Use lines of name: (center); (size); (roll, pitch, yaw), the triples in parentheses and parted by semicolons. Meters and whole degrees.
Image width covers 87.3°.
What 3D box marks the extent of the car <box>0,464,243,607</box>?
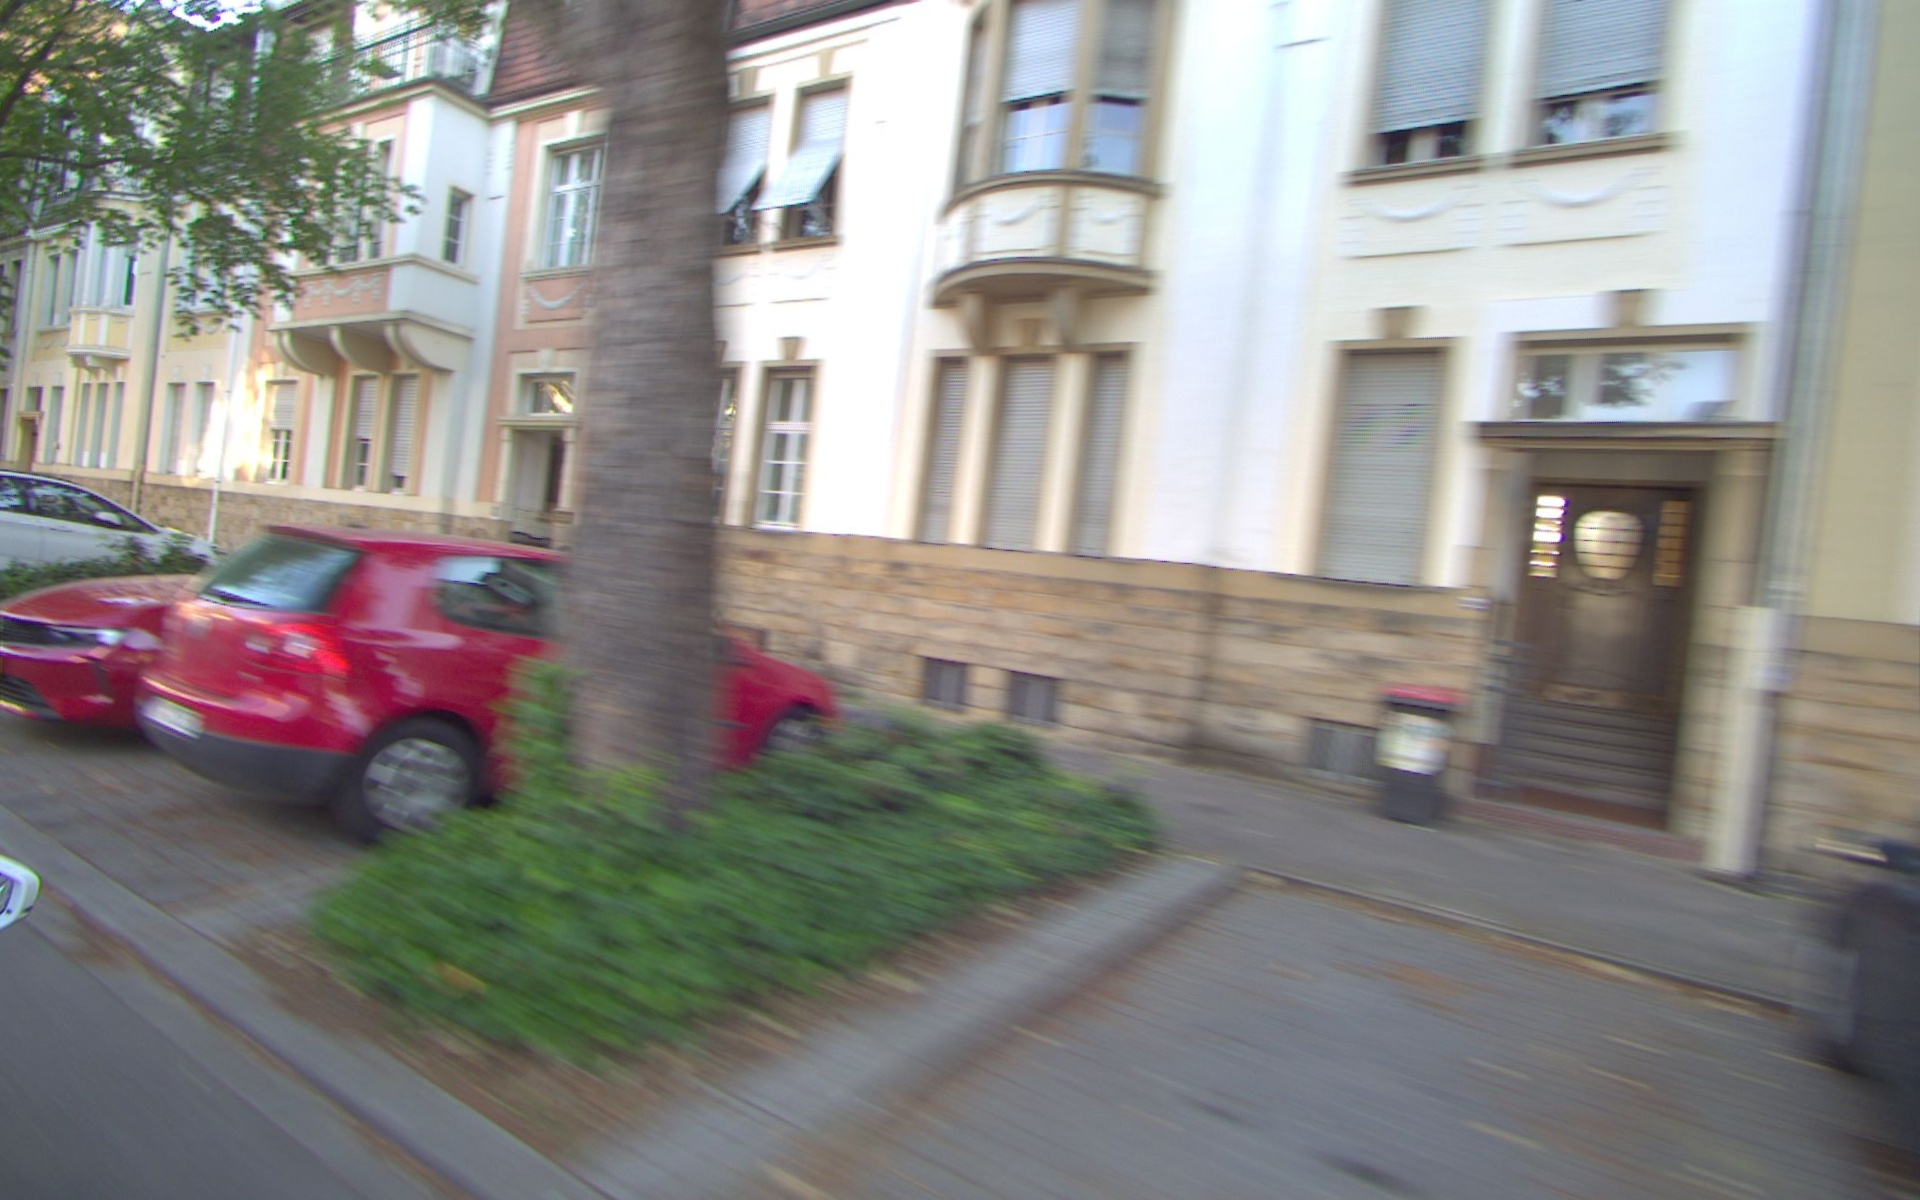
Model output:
car: (-12.014, -0.891, 12.916); (1.846, 1.591, 4.113); (7, 1, 32)

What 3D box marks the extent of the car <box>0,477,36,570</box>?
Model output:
car: (-18.179, -1.574, 16.296); (1.845, 1.559, 4.296); (8, -1, 30)

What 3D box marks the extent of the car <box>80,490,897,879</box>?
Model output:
car: (-2.455, 0.392, 6.262); (1.822, 1.494, 4.189); (7, 1, 34)

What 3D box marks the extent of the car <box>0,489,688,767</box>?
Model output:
car: (-4.456, 0.184, 7.614); (1.847, 1.437, 4.411); (7, 1, 34)

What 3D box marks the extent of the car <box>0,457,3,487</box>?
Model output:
car: (-21.950, -2.247, 19.057); (2.037, 2.013, 5.063); (8, -1, 30)

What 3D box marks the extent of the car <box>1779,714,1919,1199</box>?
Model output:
car: (3.656, 1.214, 2.828); (1.535, 1.501, 3.797); (7, -1, 33)

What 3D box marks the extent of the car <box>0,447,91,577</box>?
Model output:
car: (-16.082, -1.536, 15.039); (1.873, 1.920, 4.224); (7, 1, 30)

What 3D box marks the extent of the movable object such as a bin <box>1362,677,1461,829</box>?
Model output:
movable object such as a bin: (3.650, 1.201, 8.115); (0.532, 1.064, 0.700); (8, 4, 31)
